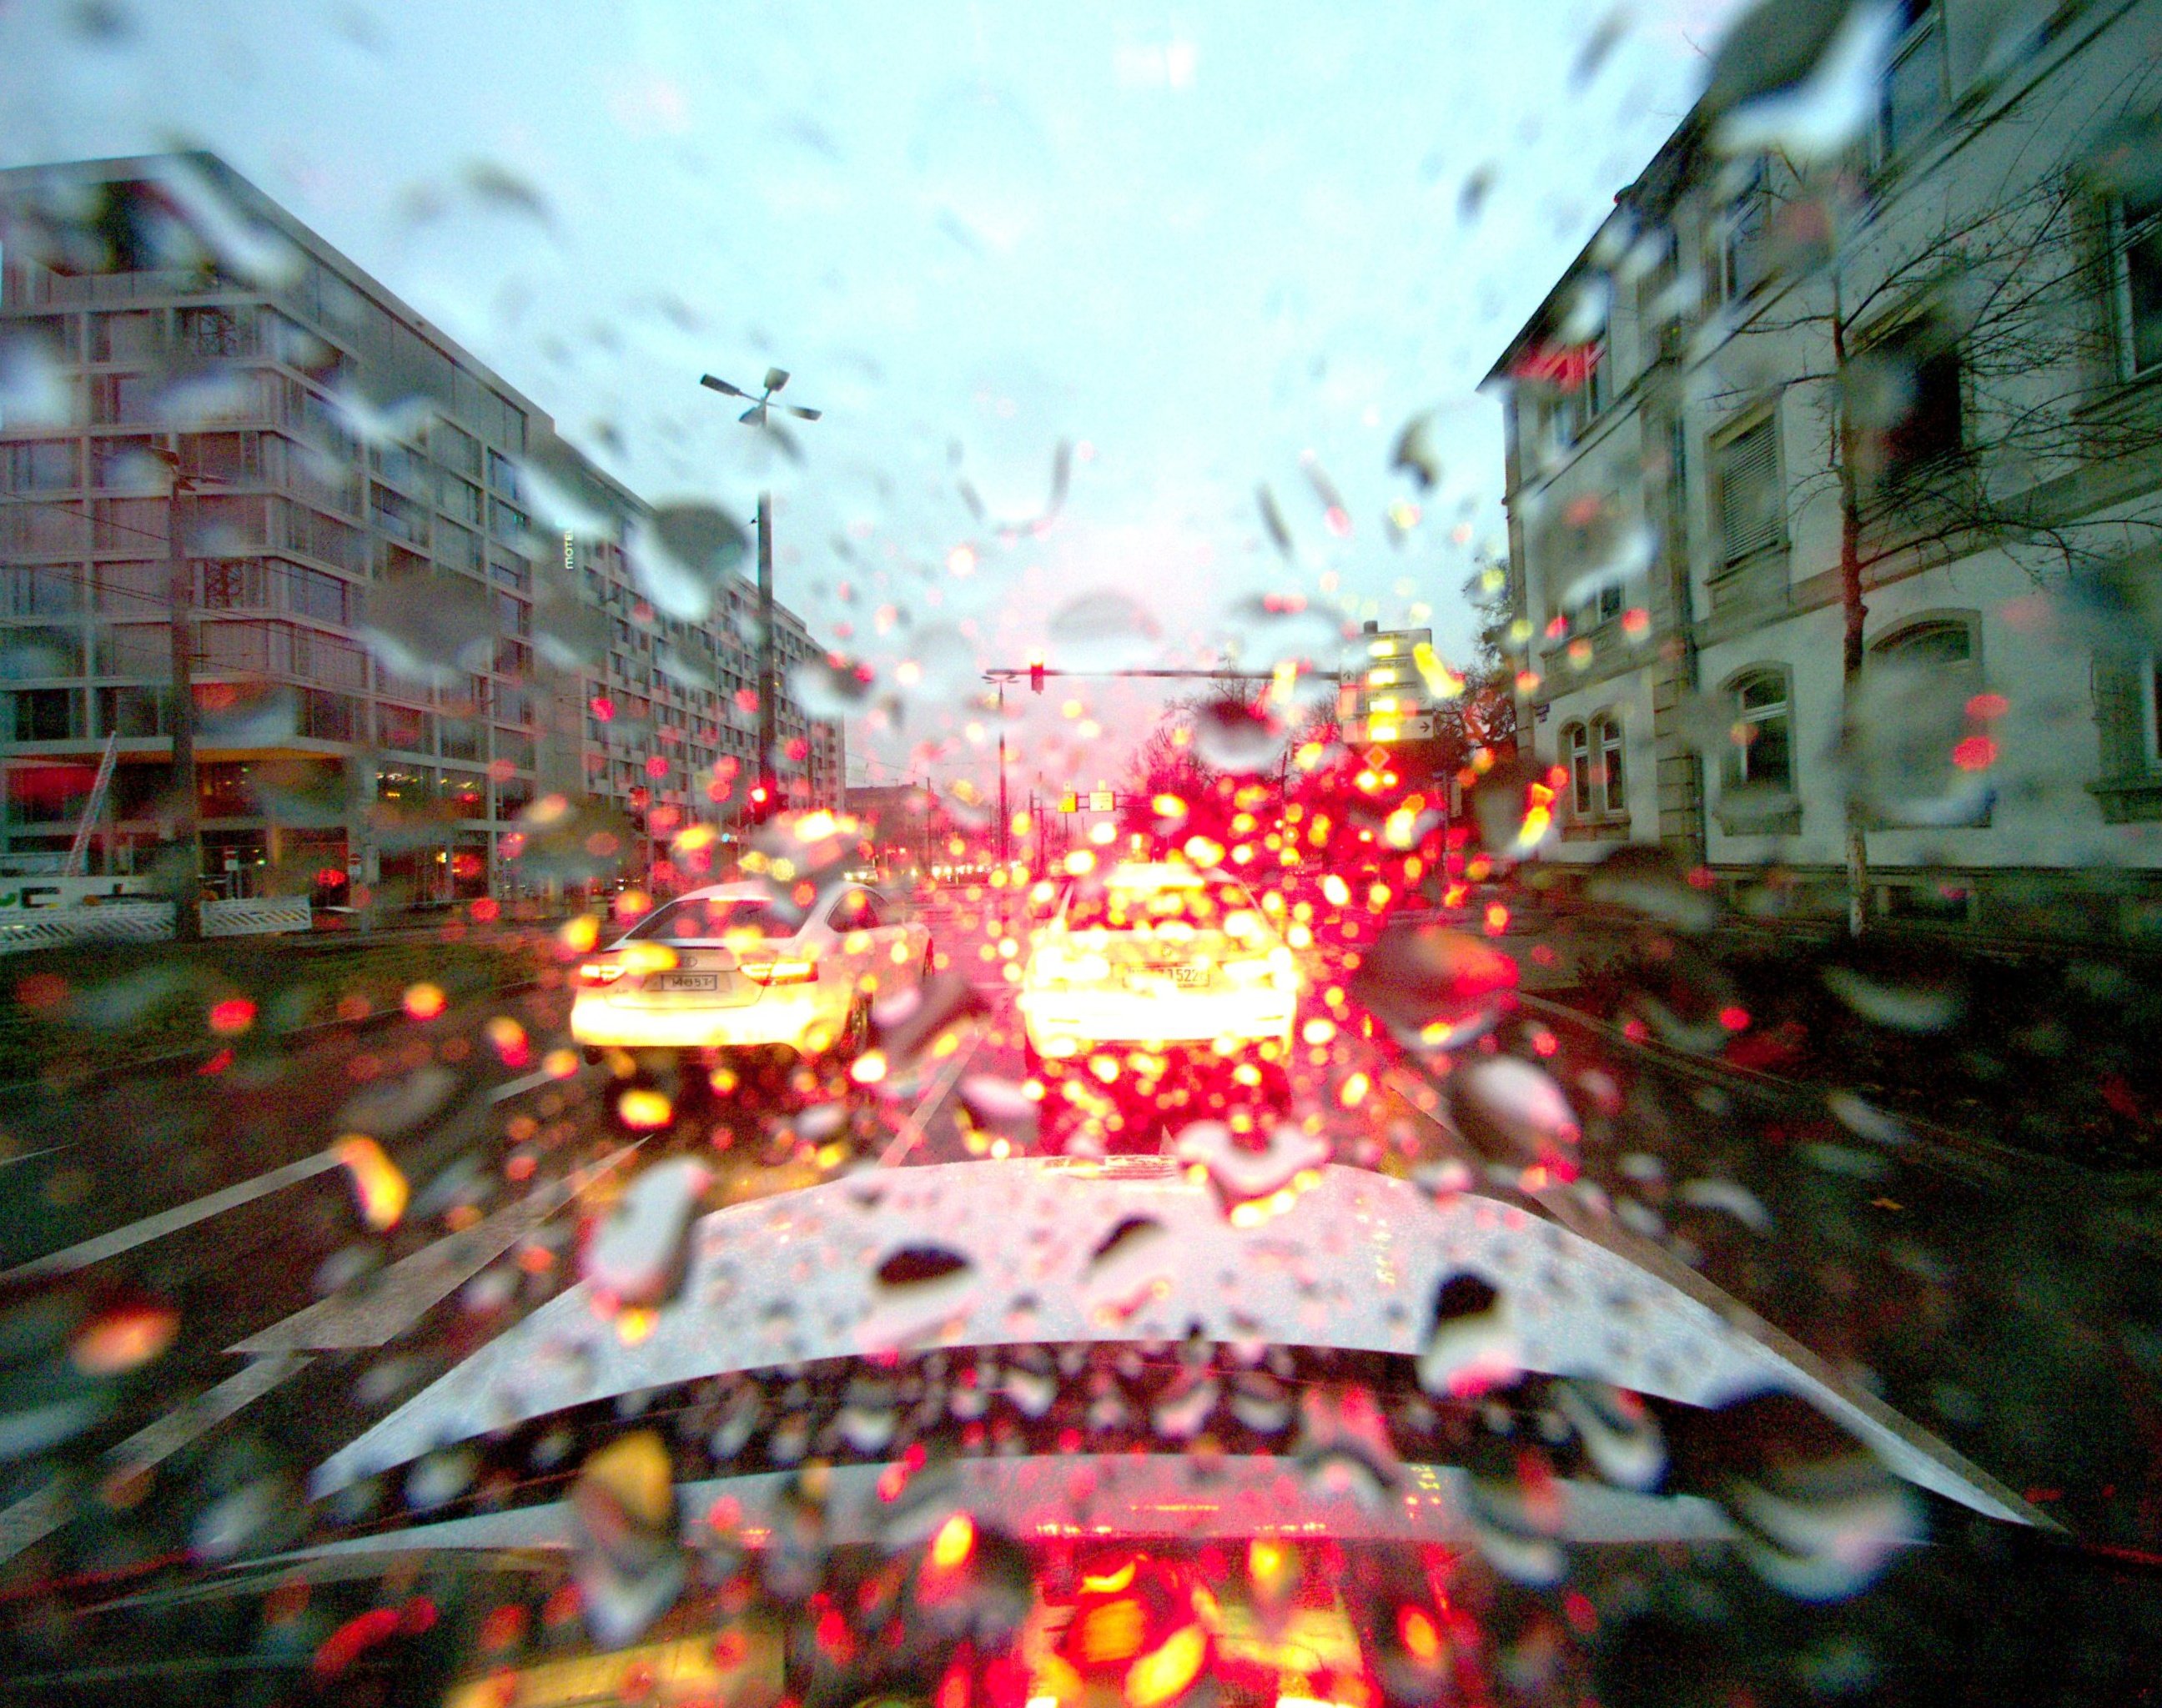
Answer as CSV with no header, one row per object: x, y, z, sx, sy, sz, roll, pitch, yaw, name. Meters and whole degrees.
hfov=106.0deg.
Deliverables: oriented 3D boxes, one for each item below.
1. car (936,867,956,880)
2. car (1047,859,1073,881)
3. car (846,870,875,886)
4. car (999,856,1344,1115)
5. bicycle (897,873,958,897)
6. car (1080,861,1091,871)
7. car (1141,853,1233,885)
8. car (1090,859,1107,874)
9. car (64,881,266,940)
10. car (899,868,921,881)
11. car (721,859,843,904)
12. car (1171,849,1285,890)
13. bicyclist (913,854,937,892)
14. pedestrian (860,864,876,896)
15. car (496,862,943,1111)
-16.401,2.378,99.159,1.669,1.508,3.697,0,-1,1,car
-1.565,1.179,60.399,1.740,1.554,3.962,0,-1,-4,car
-20.976,2.257,77.707,1.669,1.508,3.697,0,-1,1,car
0.528,0.770,6.916,1.987,1.456,4.367,-1,0,0,car
-7.105,1.435,37.724,2.661,1.089,0.814,0,-1,-4,bicycle
0.770,1.929,132.923,1.836,1.609,3.945,0,-1,1,car
4.978,0.708,38.459,3.948,1.402,1.768,-1,-1,37,car
1.875,1.319,88.484,1.836,1.609,3.945,0,-1,1,car
-25.969,1.547,23.253,1.608,1.478,3.722,-1,-1,42,car
-20.294,2.435,96.646,1.669,1.508,3.697,0,-1,1,car
-11.187,1.018,30.736,3.981,1.622,1.716,0,-1,-6,car
5.552,0.581,30.700,4.063,1.441,1.847,-1,-1,14,car
-7.214,0.884,37.726,0.970,1.759,0.812,0,-1,-3,bicyclist
-11.715,1.426,44.762,0.791,1.712,0.809,0,-1,-13,pedestrian
-2.595,0.838,7.210,1.987,1.456,4.367,-1,0,0,car
